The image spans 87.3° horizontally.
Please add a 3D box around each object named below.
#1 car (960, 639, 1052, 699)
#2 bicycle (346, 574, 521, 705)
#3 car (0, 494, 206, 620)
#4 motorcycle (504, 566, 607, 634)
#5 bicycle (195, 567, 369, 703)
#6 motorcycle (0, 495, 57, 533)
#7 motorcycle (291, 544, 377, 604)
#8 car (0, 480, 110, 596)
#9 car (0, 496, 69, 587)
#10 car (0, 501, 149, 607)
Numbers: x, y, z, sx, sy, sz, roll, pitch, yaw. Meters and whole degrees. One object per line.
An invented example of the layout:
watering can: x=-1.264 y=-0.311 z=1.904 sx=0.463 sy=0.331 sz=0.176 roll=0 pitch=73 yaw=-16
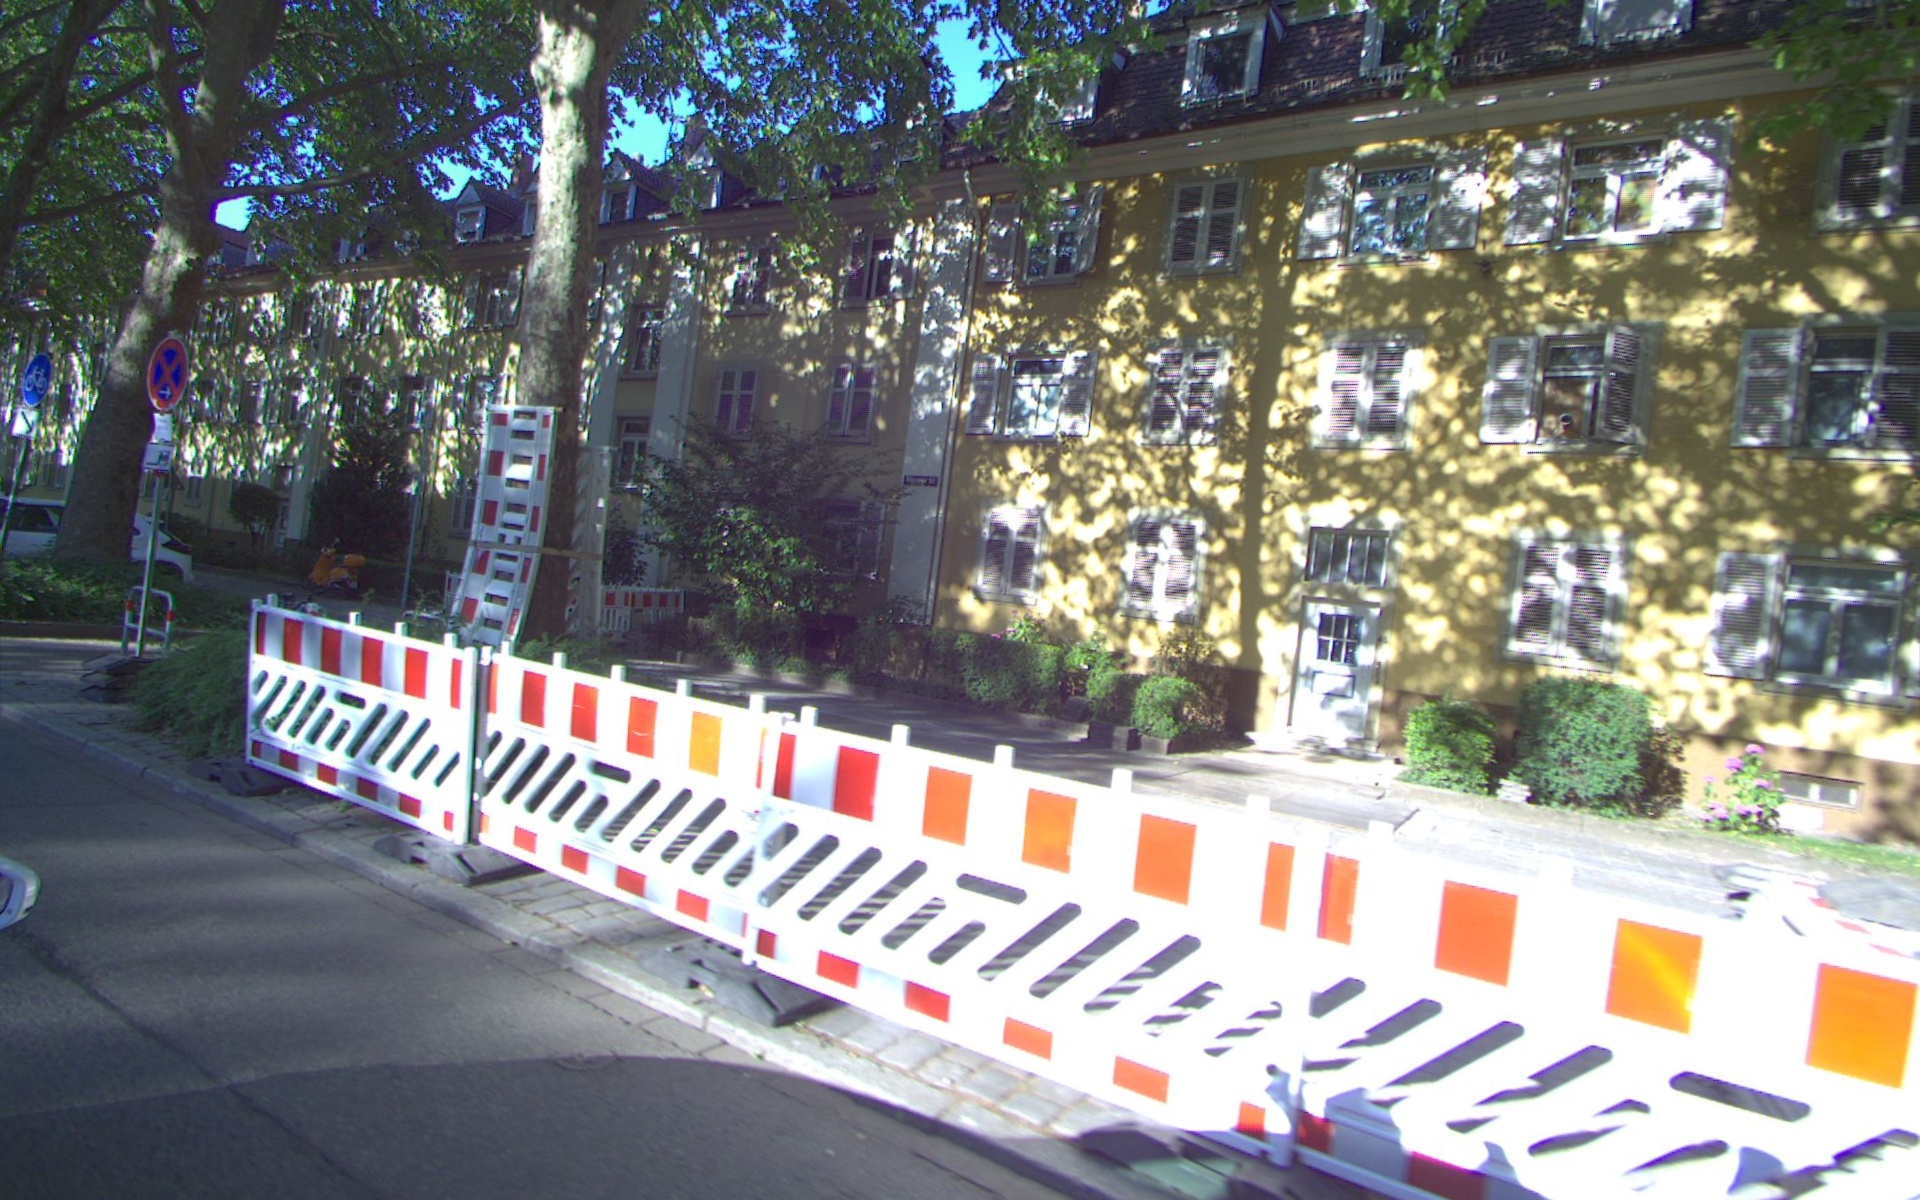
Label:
car: x=0.830 y=1.243 z=18.246 sx=1.548 sy=0.861 sz=0.446 roll=7 pitch=-3 yaw=32
bicycle: x=-5.746 y=0.414 z=10.946 sx=1.916 sy=1.168 sz=0.692 roll=7 pitch=-1 yaw=31
car: x=-13.693 y=-0.719 z=14.433 sx=1.884 sy=1.539 sz=4.097 roll=6 pitch=-2 yaw=30
motorcycle: x=-8.962 y=0.027 z=22.361 sx=0.701 sy=1.264 sz=1.994 roll=7 pitch=-1 yaw=30
bicycle: x=-6.658 y=0.330 z=9.852 sx=1.778 sy=1.083 sz=0.636 roll=7 pitch=-1 yaw=31
motorcycle: x=-39.039 y=-3.580 z=42.042 sx=0.611 sy=1.379 sz=1.805 roll=7 pitch=2 yaw=28
motorcycle: x=-14.922 y=-0.620 z=23.969 sx=2.226 sy=1.167 sz=0.716 roll=7 pitch=0 yaw=31
car: x=-17.165 y=-1.243 z=16.971 sx=1.886 sy=1.792 sz=3.848 roll=7 pitch=-2 yaw=35
car: x=-18.979 y=-1.325 z=17.827 sx=1.773 sy=1.560 sz=4.375 roll=8 pitch=-1 yaw=35
car: x=-15.581 y=-0.880 z=15.916 sx=1.822 sy=1.449 sz=3.848 roll=7 pitch=-2 yaw=35
